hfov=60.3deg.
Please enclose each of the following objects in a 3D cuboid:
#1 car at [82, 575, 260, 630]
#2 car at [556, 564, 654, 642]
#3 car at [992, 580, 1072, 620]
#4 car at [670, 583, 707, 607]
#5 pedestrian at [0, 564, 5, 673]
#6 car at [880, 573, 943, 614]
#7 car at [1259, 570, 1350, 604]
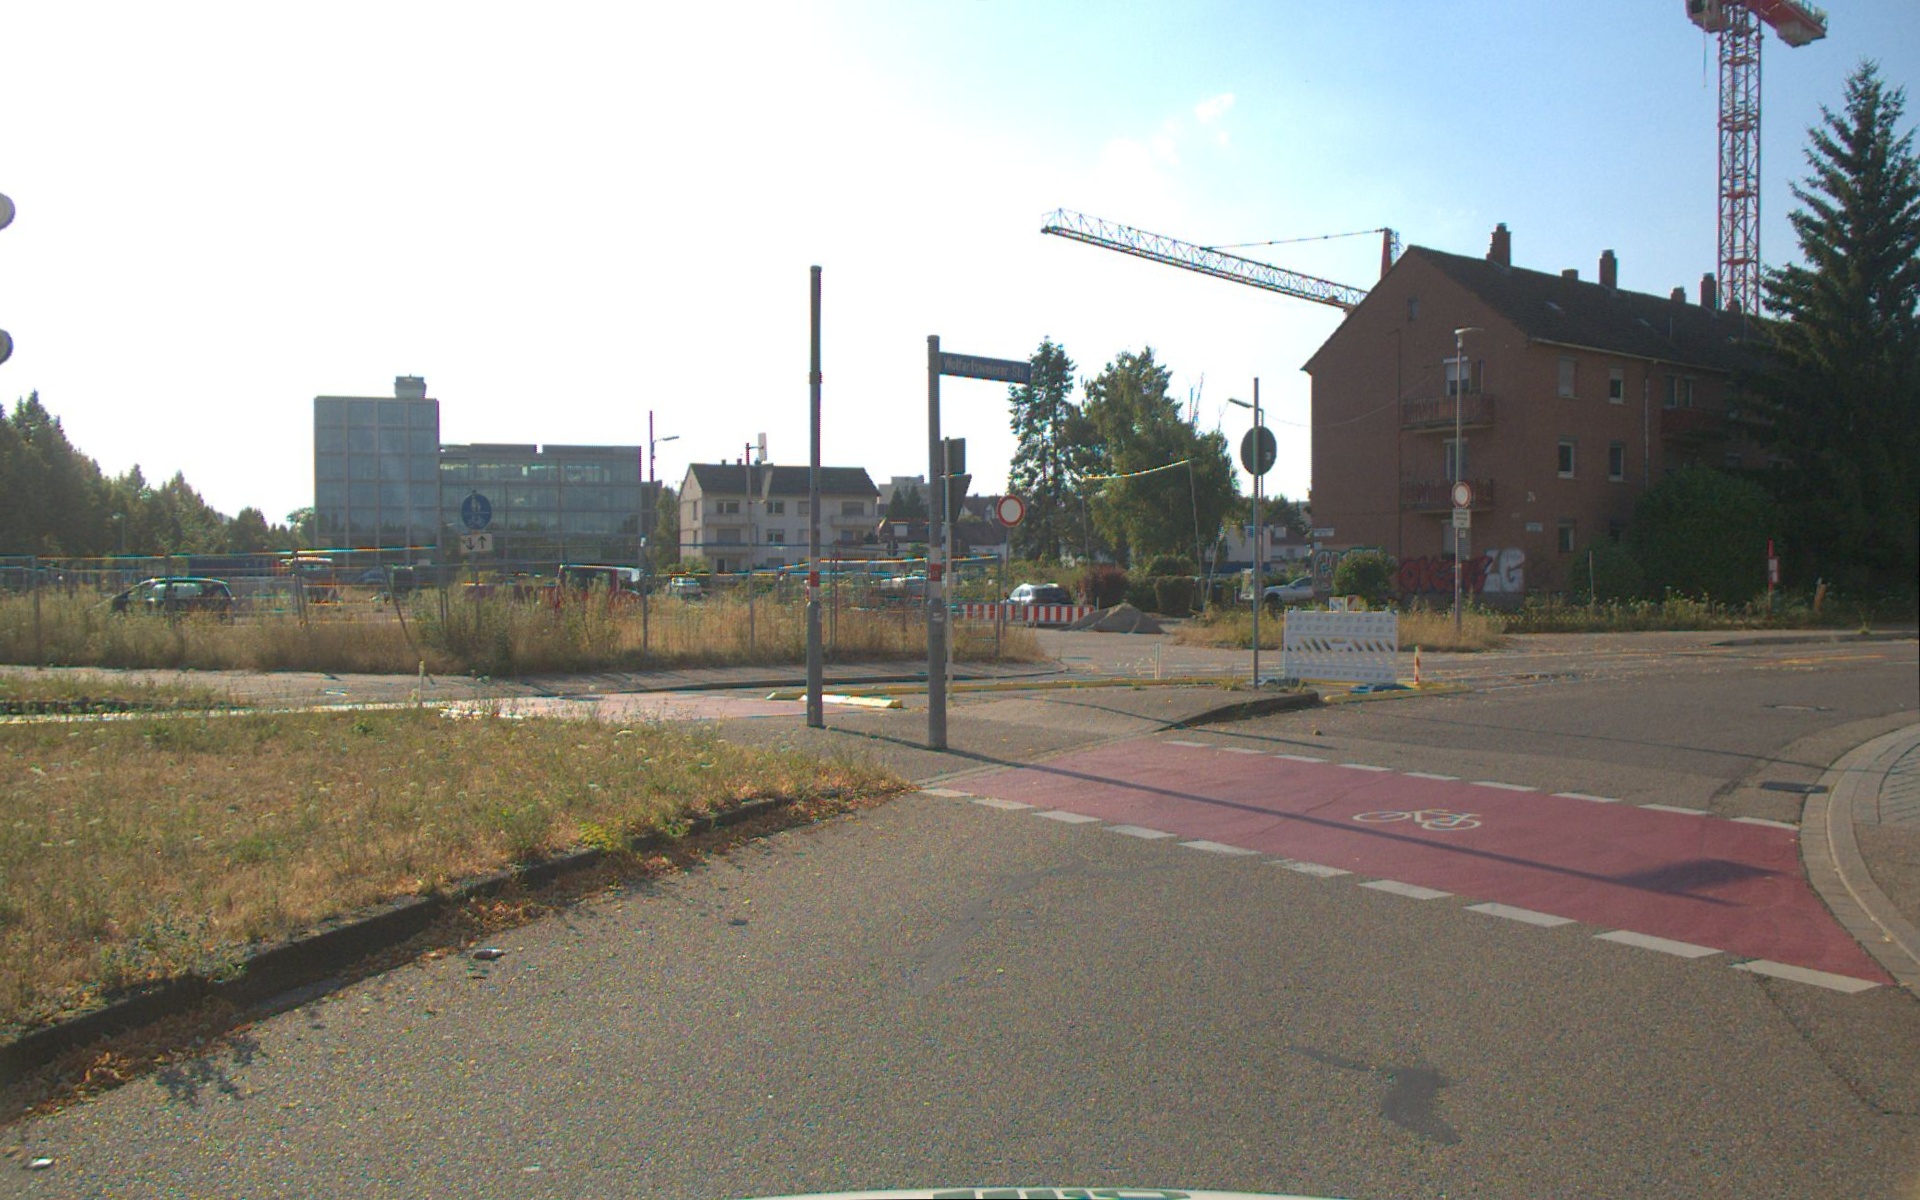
[{"bbox_3d":[-21.059,0.039,44.164,4.186,1.387,1.980,-1,1,-30],"label":"car"},{"bbox_3d":[-9.905,0.035,46.545,1.954,2.049,5.309,-1,1,-4],"label":"car"},{"bbox_3d":[2.936,-0.024,68.269,1.963,1.579,3.978,-1,1,-19],"label":"car"},{"bbox_3d":[-21.341,-0.397,129.902,2.115,1.870,4.334,0,1,-21],"label":"car"},{"bbox_3d":[-16.348,0.308,27.418,0.754,1.806,0.760,-1,1,-42],"label":"pedestrian"},{"bbox_3d":[-2.464,-0.328,83.034,1.837,1.981,3.972,-1,1,-23],"label":"car"},{"bbox_3d":[16.009,-0.601,76.720,3.904,1.556,2.001,0,1,19],"label":"car"}]
